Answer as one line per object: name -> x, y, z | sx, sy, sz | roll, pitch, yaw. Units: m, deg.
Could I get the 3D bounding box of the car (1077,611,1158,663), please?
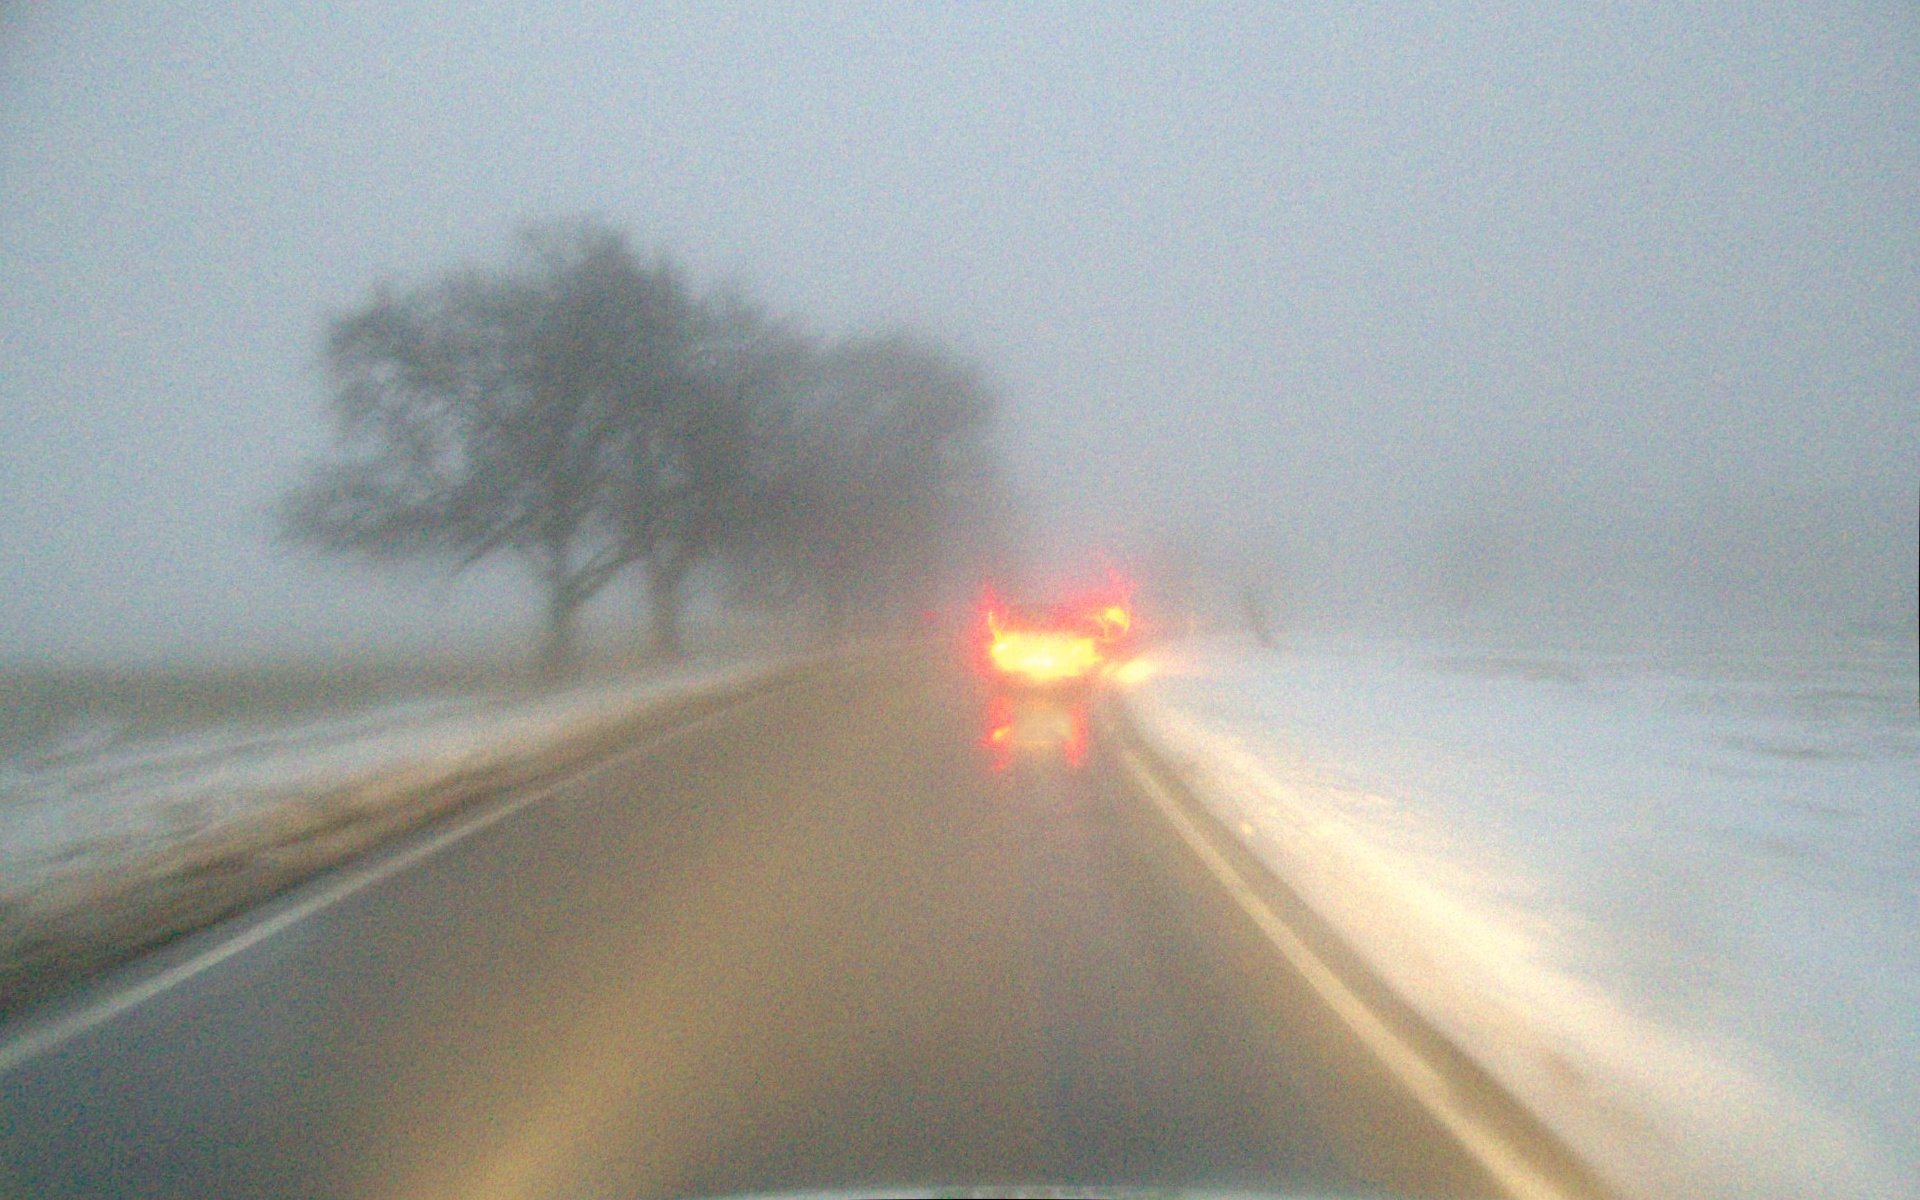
car -> 4.885, 1.120, 51.014 | 1.450, 1.534, 3.049 | -1, 0, 27

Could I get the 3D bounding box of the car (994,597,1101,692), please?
car -> 1.440, 0.705, 28.503 | 1.671, 1.489, 4.000 | 1, 0, 1
